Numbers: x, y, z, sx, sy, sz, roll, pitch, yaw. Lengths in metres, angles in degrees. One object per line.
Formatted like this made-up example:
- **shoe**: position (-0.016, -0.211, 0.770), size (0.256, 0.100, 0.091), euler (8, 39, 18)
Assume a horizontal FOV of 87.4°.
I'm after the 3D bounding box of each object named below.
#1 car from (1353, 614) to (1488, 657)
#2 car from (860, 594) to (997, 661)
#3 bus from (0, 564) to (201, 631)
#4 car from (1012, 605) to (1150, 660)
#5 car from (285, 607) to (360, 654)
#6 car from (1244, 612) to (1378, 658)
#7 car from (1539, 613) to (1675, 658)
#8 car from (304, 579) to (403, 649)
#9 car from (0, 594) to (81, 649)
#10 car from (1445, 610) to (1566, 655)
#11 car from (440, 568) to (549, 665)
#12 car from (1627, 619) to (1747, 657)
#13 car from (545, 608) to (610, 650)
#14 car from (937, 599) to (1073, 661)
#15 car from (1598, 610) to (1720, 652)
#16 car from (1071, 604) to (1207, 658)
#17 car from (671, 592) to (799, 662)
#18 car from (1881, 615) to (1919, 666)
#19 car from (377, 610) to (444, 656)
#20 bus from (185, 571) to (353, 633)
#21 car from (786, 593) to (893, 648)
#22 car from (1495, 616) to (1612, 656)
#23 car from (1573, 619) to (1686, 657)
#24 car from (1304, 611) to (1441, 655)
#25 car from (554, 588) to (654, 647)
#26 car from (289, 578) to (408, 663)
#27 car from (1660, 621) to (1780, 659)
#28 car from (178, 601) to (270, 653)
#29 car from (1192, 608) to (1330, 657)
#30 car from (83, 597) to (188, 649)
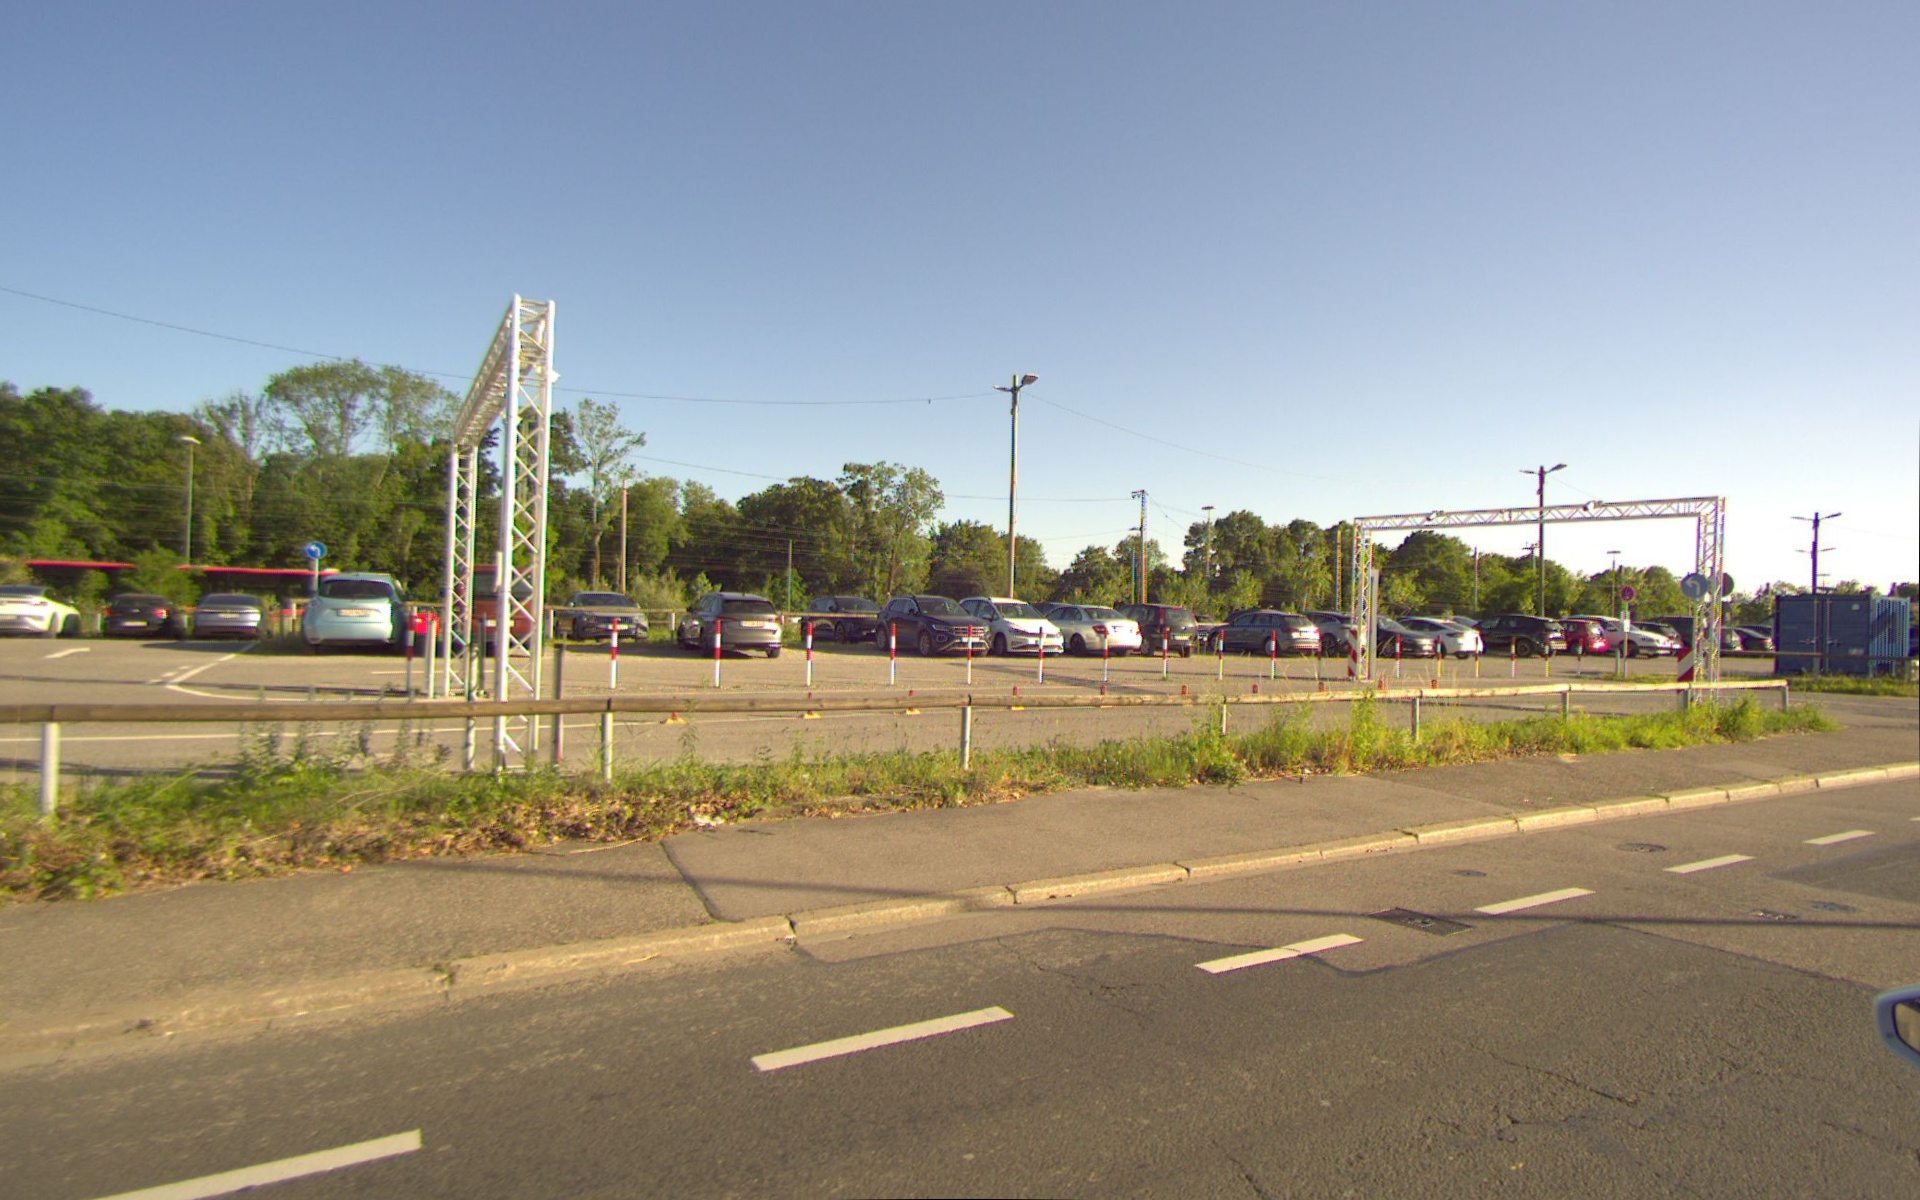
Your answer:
- **car**: position (17.070, 1.285, 37.431), size (1.856, 1.394, 4.301), euler (2, 0, -30)
- **car**: position (-0.952, 0.684, 26.992), size (1.834, 1.606, 4.557), euler (2, 0, -28)
- **bus**: position (-34.162, -0.053, 39.776), size (6.128, 2.379, 2.529), euler (2, -1, -29)
- **car**: position (3.421, 0.905, 29.282), size (1.855, 1.412, 4.303), euler (2, 0, -28)
- **car**: position (-21.347, 1.005, 33.754), size (1.914, 1.501, 3.590), euler (2, -1, -30)
- **car**: position (12.257, 1.199, 35.320), size (1.856, 1.438, 4.301), euler (2, 0, -30)
- **car**: position (27.978, 1.492, 43.594), size (2.030, 1.764, 4.565), euler (2, 0, -25)
- **car**: position (-14.882, 0.321, 24.835), size (1.834, 1.566, 4.348), euler (2, 0, -28)
- **car**: position (-27.417, 0.600, 29.332), size (1.914, 1.501, 3.590), euler (2, -1, -30)
- **car**: position (21.712, 1.259, 40.112), size (1.856, 1.625, 3.864), euler (2, 0, -30)
- **car**: position (-10.022, 0.318, 21.444), size (1.834, 1.829, 4.557), euler (2, 0, -28)
- **car**: position (34.886, 1.790, 48.315), size (1.856, 1.639, 4.301), euler (2, 0, -30)
- **car**: position (-14.371, 1.070, 37.664), size (1.706, 1.501, 3.590), euler (2, -1, -30)
- **car**: position (1.153, 0.788, 28.097), size (1.855, 1.544, 4.303), euler (2, 0, -28)
- **car**: position (32.574, 1.418, 46.930), size (1.856, 1.815, 4.301), euler (2, 0, -30)
- **car**: position (5.412, 0.918, 30.948), size (1.855, 1.482, 4.303), euler (2, 0, -28)
- **car**: position (-5.497, 0.581, 24.086), size (1.965, 1.500, 4.560), euler (2, 0, -26)
- **car**: position (37.523, 1.573, 37.071), size (1.976, 1.859, 4.822), euler (2, 0, -30)
- **car**: position (-19.173, 1.127, 34.996), size (1.914, 1.501, 3.590), euler (2, -1, -30)
- **bus**: position (-29.085, 0.141, 42.570), size (5.520, 2.379, 2.529), euler (2, -1, -29)
- **car**: position (-3.837, 0.601, 31.374), size (1.855, 1.544, 4.303), euler (2, 0, -28)
- **car**: position (25.208, 1.492, 42.770), size (1.856, 1.540, 3.864), euler (2, 0, -30)
- **car**: position (30.328, 1.714, 45.600), size (1.856, 1.540, 3.864), euler (2, 0, -30)
- **car**: position (14.675, 1.151, 35.934), size (1.856, 1.394, 4.301), euler (2, 0, -30)
- **car**: position (-9.778, 0.454, 27.433), size (1.872, 1.485, 3.968), euler (2, 0, -30)
- **car**: position (-12.475, 0.379, 20.721), size (1.834, 1.566, 4.348), euler (2, 0, -28)
- **car**: position (37.207, 1.916, 49.270), size (1.856, 1.639, 4.301), euler (2, 0, -30)
- **car**: position (-23.124, 0.839, 31.688), size (1.914, 1.501, 3.590), euler (2, -1, -30)
- **car**: position (9.971, 1.044, 33.584), size (1.856, 1.438, 4.301), euler (2, 0, -30)
- **car**: position (-25.590, 0.716, 31.313), size (1.914, 1.501, 3.590), euler (2, -1, -30)
